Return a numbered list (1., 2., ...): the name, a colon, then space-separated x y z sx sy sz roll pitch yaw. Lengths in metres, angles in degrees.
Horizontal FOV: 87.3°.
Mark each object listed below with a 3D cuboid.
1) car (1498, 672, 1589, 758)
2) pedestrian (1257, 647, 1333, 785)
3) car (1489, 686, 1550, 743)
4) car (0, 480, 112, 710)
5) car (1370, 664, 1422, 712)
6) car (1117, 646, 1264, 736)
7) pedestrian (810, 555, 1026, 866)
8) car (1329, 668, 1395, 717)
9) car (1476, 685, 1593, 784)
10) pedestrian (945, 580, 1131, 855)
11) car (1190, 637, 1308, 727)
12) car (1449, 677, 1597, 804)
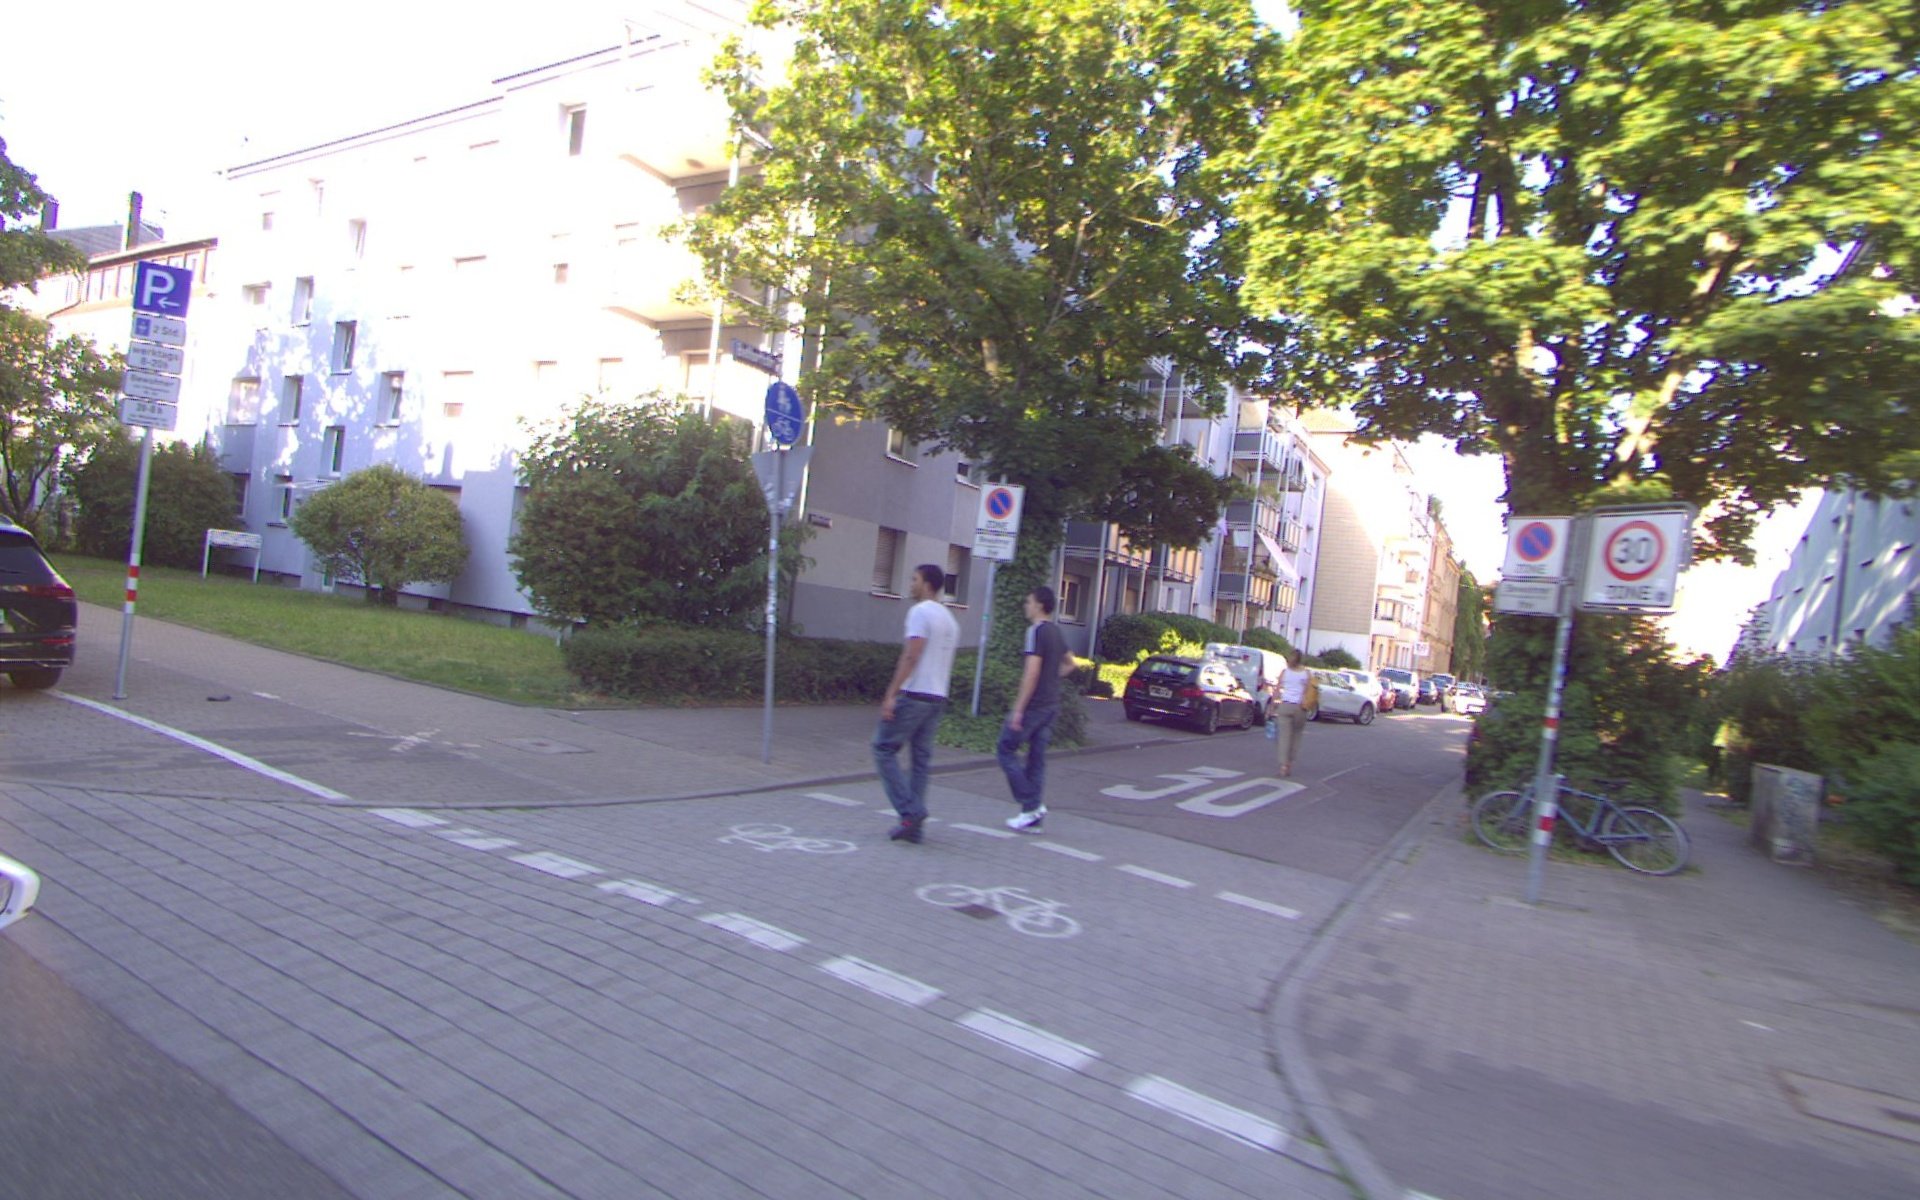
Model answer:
1. car: 16.933 3.341 29.172 1.933 2.034 4.248 7 -3 32
2. pedestrian: 4.578 1.564 13.785 0.786 1.743 0.744 6 1 18
3. car: 19.992 4.090 35.919 1.632 1.708 3.649 7 -3 30
4. car: -9.107 -0.255 8.449 4.183 1.705 1.757 6 -2 33
5. car: 21.936 4.455 50.547 1.730 1.999 4.249 7 -3 30
6. car: 4.912 1.945 20.996 1.701 1.477 4.169 7 -3 30
7. pedestrian: -0.283 0.704 6.863 1.050 1.884 0.749 6 1 30
8. car: 16.409 3.798 40.936 1.730 1.662 4.249 7 -3 30
9. car: 11.694 2.706 20.513 1.730 1.574 4.249 7 -3 30
10. pedestrian: 0.591 0.855 7.666 0.938 1.884 0.797 7 1 42
11. car: 7.444 2.151 25.612 1.730 1.900 4.249 7 -3 30
12. car: 9.229 2.249 16.494 1.730 1.574 4.249 7 -3 30
